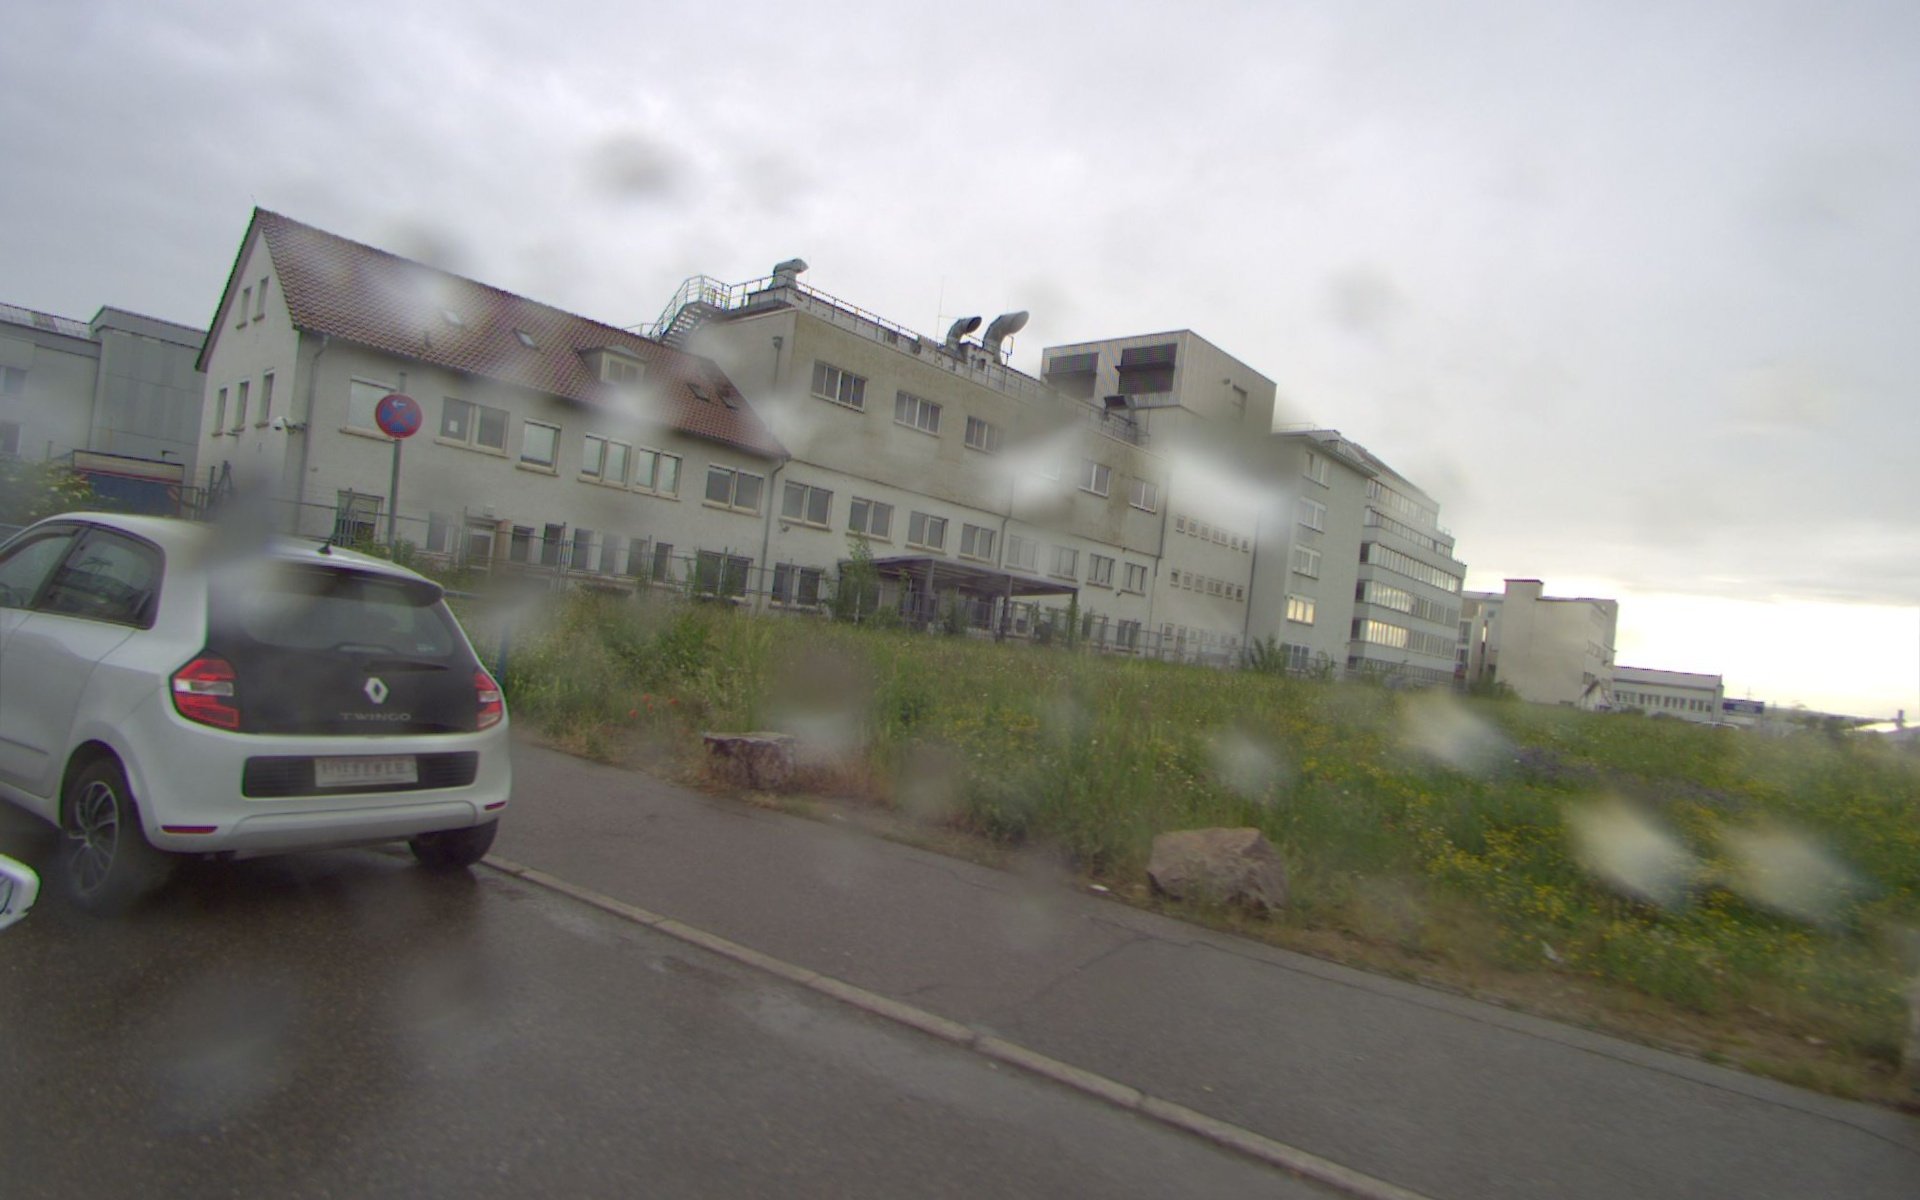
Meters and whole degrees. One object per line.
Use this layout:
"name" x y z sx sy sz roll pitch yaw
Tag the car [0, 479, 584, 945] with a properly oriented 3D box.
"car" -3.937 0.333 5.185 3.612 1.575 1.685 7 -2 30
